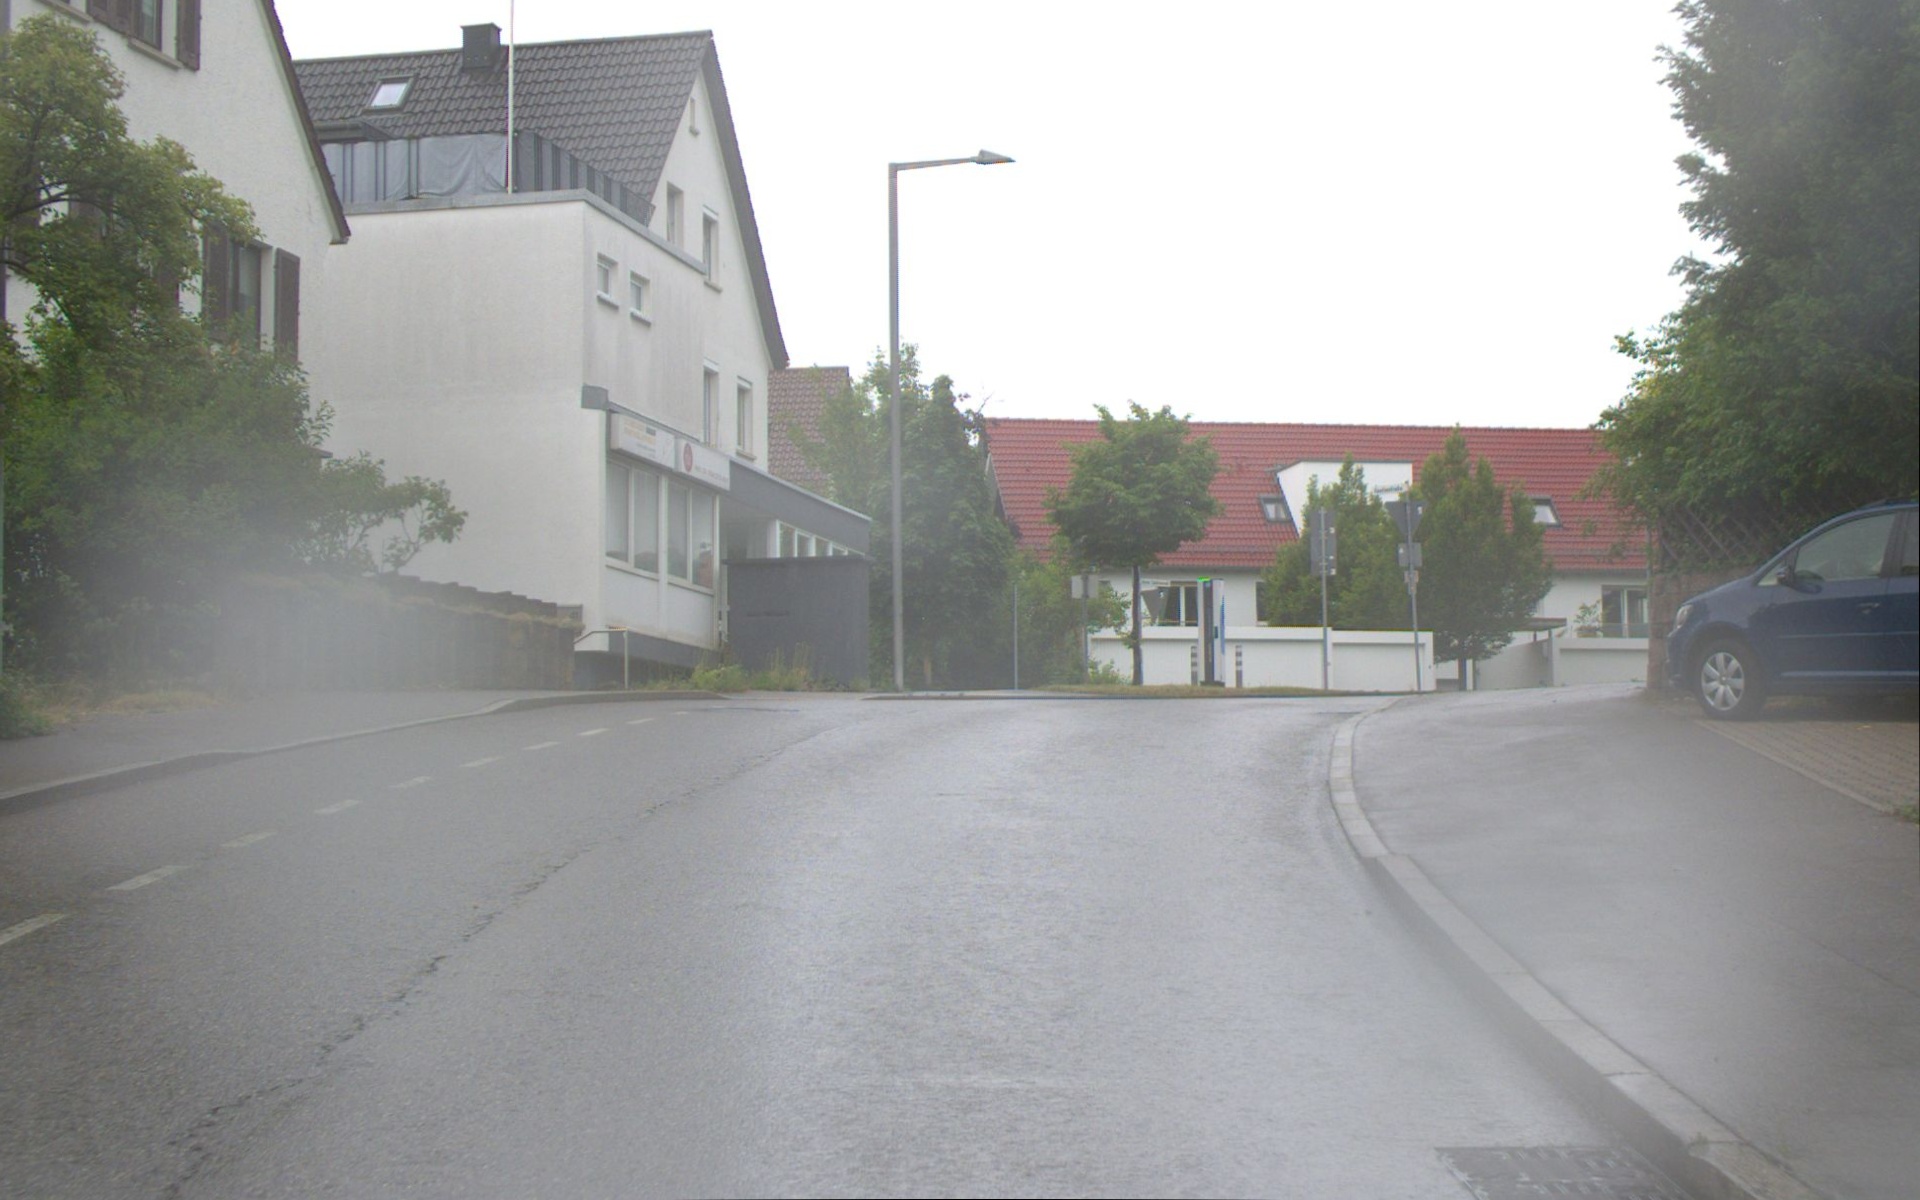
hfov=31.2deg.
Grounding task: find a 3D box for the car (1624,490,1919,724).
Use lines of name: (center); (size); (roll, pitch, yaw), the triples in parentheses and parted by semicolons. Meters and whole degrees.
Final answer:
car: (7.250, 0.002, 25.309); (1.851, 1.601, 4.338); (-6, 2, -39)
